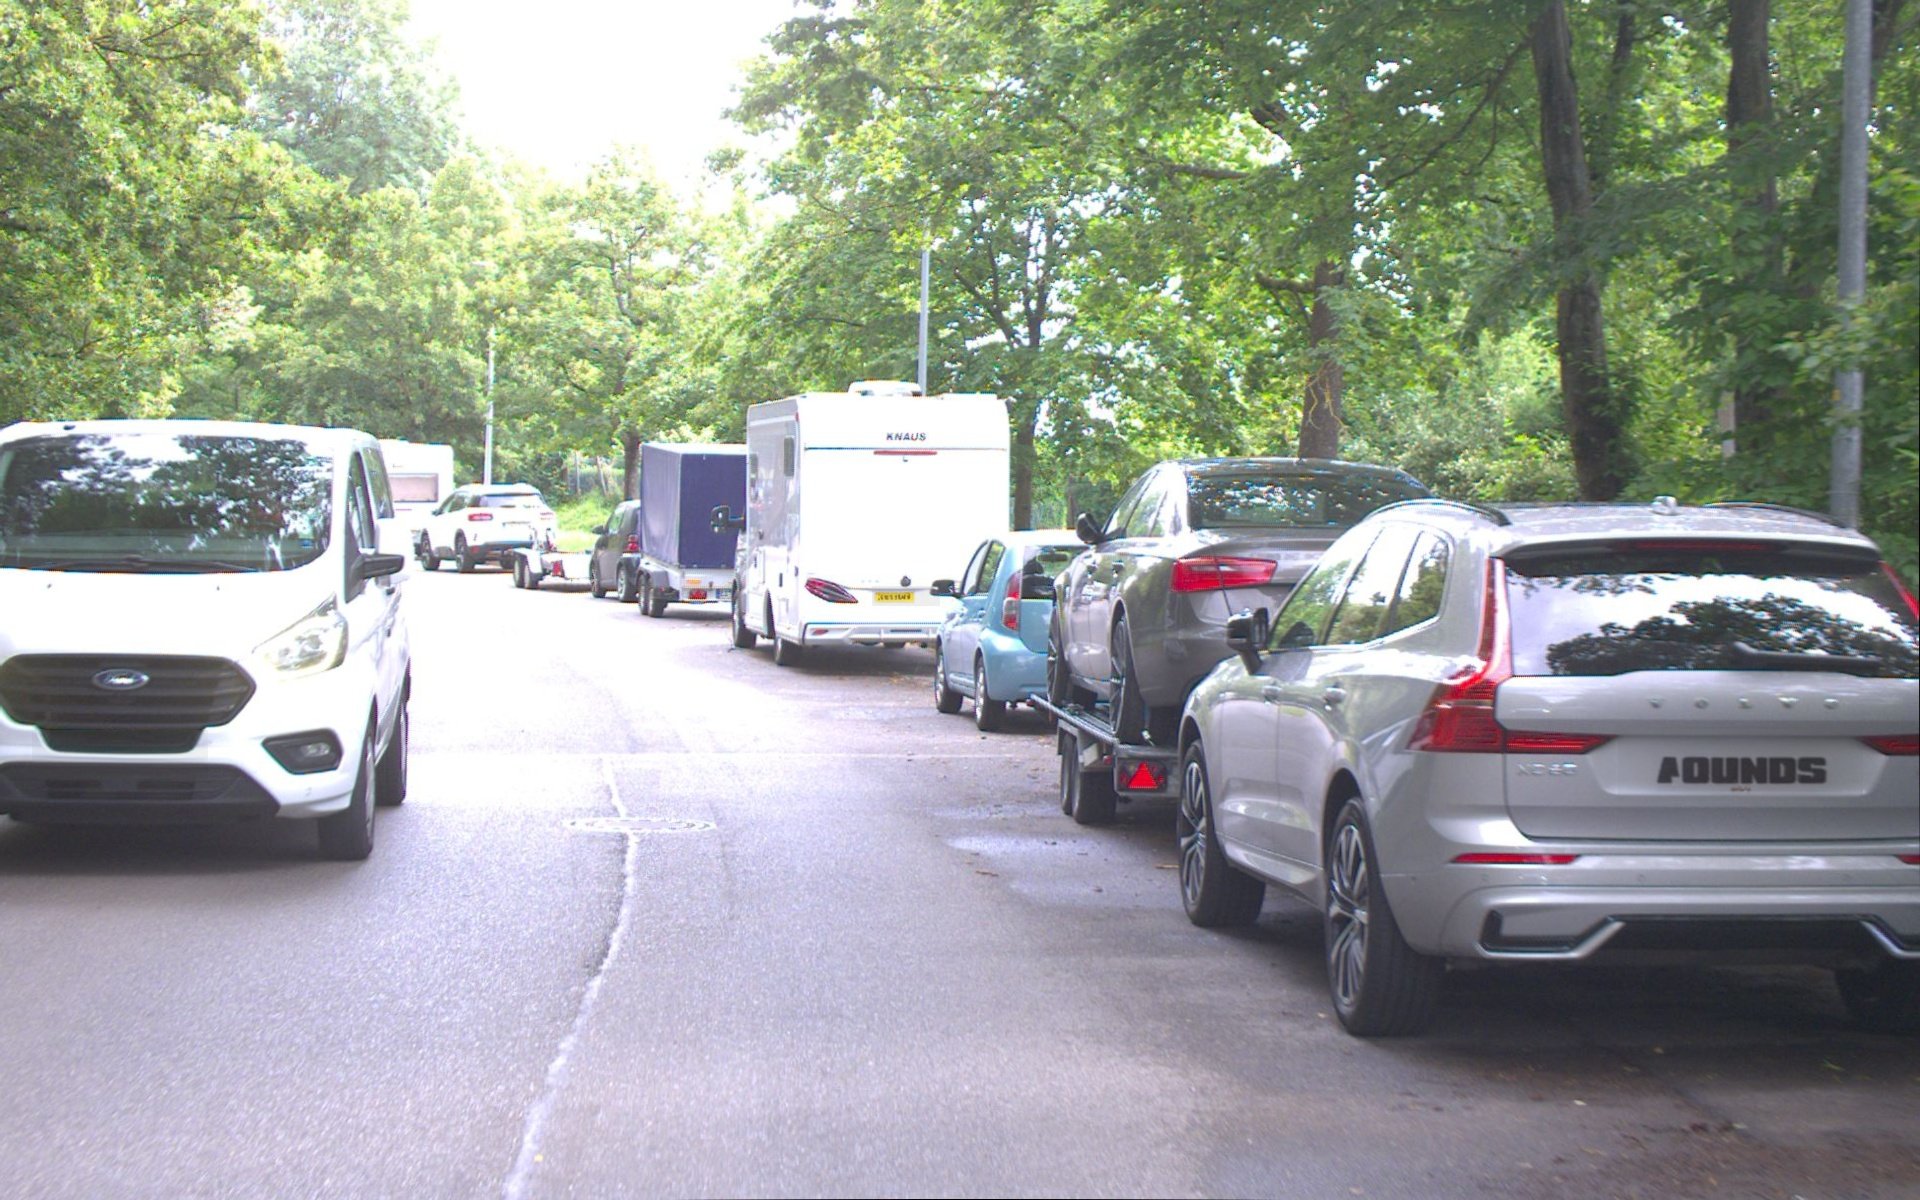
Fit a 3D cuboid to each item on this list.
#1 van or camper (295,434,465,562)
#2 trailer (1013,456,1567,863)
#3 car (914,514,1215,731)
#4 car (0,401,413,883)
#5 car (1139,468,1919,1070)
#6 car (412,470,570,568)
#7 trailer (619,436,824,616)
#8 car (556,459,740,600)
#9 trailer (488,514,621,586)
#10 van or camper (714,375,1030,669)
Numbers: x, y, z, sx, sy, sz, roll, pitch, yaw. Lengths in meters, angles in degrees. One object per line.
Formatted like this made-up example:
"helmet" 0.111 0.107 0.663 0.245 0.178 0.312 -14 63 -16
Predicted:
"van or camper" -12.582 -2.226 74.387 2.526 2.688 4.576 -1 2 -24
"trailer" 1.526 0.186 18.011 1.978 1.805 5.150 1 2 -5
"car" 0.752 0.123 27.361 1.799 1.556 3.836 1 2 -7
"car" -3.744 0.120 16.500 1.947 1.977 4.503 1 1 -6
"car" 1.880 0.483 11.860 1.791 1.664 4.503 1 0 -6
"car" -9.089 -1.587 66.383 2.034 1.797 4.084 0 2 -22
"trailer" -3.416 -1.052 48.540 1.993 2.390 4.001 1 1 -17
"car" -4.912 -1.144 53.622 1.993 2.019 4.002 -2 4 -18
"trailer" -6.805 -0.856 57.368 1.651 1.083 4.002 -1 2 -15
"van or camper" -1.115 -0.848 37.723 2.481 2.866 6.892 1 1 -9
